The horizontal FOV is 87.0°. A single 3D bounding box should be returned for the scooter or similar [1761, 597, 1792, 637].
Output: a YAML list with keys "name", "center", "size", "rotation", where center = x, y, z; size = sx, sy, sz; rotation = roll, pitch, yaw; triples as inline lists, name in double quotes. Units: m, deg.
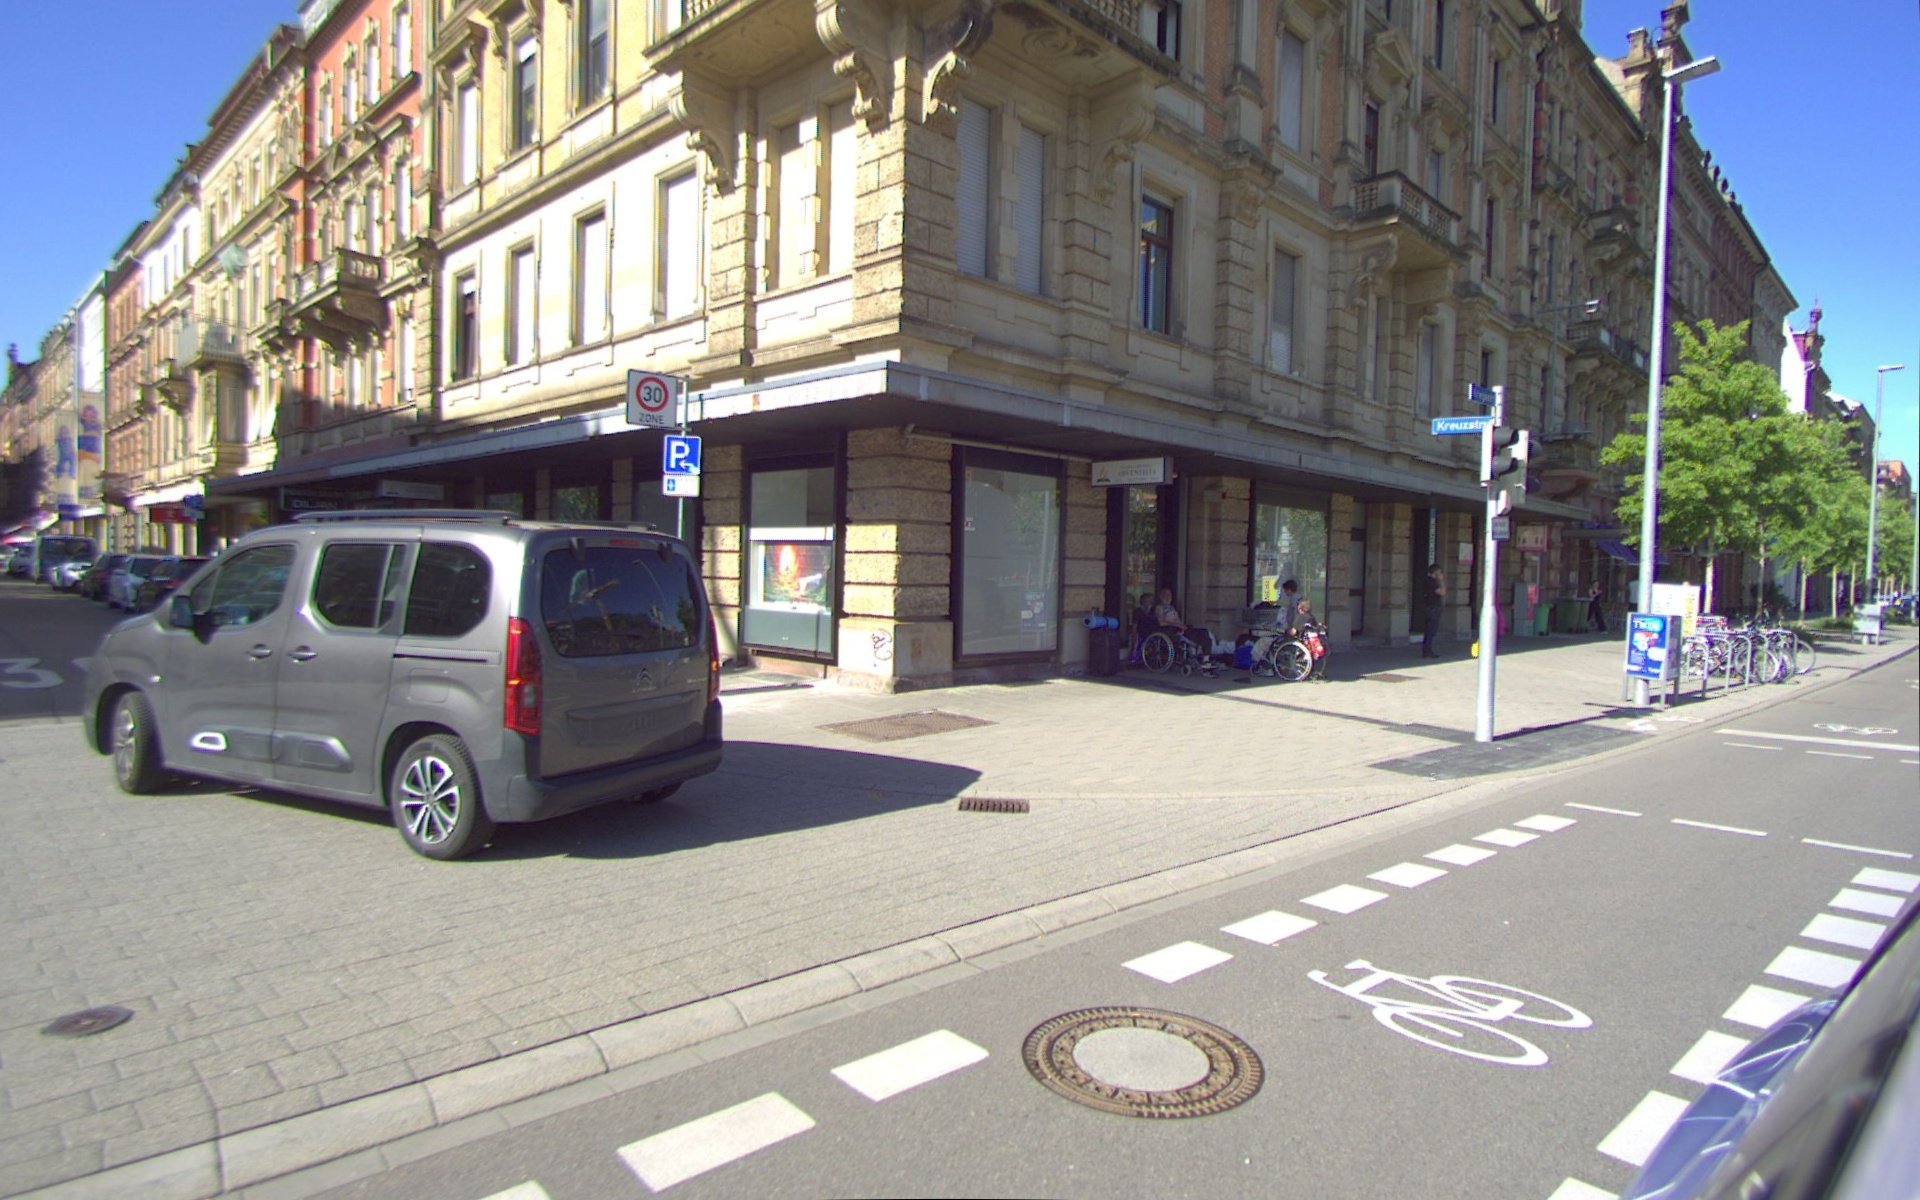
- name: "scooter or similar"
  center: [24.489, 0.502, 30.370]
  size: [0.283, 1.187, 0.639]
  rotation: [1, 1, -20]

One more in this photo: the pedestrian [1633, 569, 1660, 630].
- name: "pedestrian"
  center: [21.334, -0.020, 31.451]
  size: [0.491, 1.873, 0.512]
  rotation: [1, 1, -35]

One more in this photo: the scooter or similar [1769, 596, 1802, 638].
- name: "scooter or similar"
  center: [24.876, 0.519, 30.518]
  size: [0.320, 1.235, 0.676]
  rotation: [1, 1, -20]

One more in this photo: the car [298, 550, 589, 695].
- name: "car"
  center: [-6.776, 0.159, 13.072]
  size: [4.389, 1.563, 1.827]
  rotation: [2, 2, 40]

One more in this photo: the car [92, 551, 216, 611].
- name: "car"
  center: [-20.350, -0.518, 25.488]
  size: [4.420, 1.371, 1.627]
  rotation: [2, 2, 40]

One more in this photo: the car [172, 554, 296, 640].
- name: "car"
  center: [-13.969, -0.102, 19.431]
  size: [2.778, 1.513, 1.286]
  rotation: [2, 2, 40]

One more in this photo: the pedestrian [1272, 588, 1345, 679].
- name: "pedestrian"
  center: [5.056, 0.470, 14.679]
  size: [0.635, 1.232, 0.719]
  rotation: [0, 4, -37]

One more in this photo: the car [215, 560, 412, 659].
- name: "car"
  center: [-10.720, 0.090, 16.672]
  size: [4.173, 1.412, 1.535]
  rotation: [2, 1, 40]

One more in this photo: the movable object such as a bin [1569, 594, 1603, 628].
- name: "movable object such as a bin"
  center: [18.484, 0.316, 29.875]
  size: [0.576, 0.986, 0.692]
  rotation: [-1, 1, -38]

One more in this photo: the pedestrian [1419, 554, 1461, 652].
- name: "pedestrian"
  center: [9.148, 0.051, 19.292]
  size: [0.491, 1.824, 0.512]
  rotation: [1, 1, -35]

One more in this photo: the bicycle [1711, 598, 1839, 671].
- name: "bicycle"
  center: [16.376, 0.661, 20.369]
  size: [0.680, 1.266, 1.867]
  rotation: [-1, 5, -43]

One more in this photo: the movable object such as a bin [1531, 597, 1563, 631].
- name: "movable object such as a bin"
  center: [16.198, 0.388, 27.939]
  size: [0.467, 0.876, 0.606]
  rotation: [-1, 4, -38]

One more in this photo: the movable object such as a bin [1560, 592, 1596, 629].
- name: "movable object such as a bin"
  center: [18.010, 0.301, 29.500]
  size: [0.576, 1.025, 0.693]
  rotation: [-1, 4, -38]

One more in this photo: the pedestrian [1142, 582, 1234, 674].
- name: "pedestrian"
  center: [3.329, 0.389, 14.822]
  size: [0.691, 1.232, 1.074]
  rotation: [-1, 4, -42]

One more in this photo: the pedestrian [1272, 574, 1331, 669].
- name: "pedestrian"
  center: [5.285, 0.315, 15.660]
  size: [0.637, 1.411, 0.573]
  rotation: [-1, 4, -44]

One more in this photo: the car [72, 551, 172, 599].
- name: "car"
  center: [-25.375, -0.774, 30.617]
  size: [3.806, 1.371, 1.688]
  rotation: [2, 2, 40]

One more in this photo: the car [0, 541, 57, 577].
- name: "car"
  center: [-42.963, -1.878, 46.626]
  size: [3.806, 1.574, 1.514]
  rotation: [2, 2, 40]

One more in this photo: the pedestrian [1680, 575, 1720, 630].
- name: "pedestrian"
  center: [22.671, 0.067, 31.015]
  size: [0.795, 1.603, 0.752]
  rotation: [0, 3, -42]

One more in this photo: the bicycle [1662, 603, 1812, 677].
- name: "bicycle"
  center: [14.119, 0.697, 18.450]
  size: [0.593, 1.133, 2.053]
  rotation: [-1, 4, -42]

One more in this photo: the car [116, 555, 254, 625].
- name: "car"
  center: [-16.949, -0.260, 22.080]
  size: [3.806, 1.371, 1.627]
  rotation: [2, 2, 40]

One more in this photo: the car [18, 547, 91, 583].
- name: "car"
  center: [-36.528, -1.428, 40.789]
  size: [3.806, 1.371, 1.688]
  rotation: [2, 2, 40]

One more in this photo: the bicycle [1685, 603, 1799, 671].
- name: "bicycle"
  center: [15.088, 0.693, 19.555]
  size: [1.661, 1.123, 0.594]
  rotation: [5, 5, 40]

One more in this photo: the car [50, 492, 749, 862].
- name: "car"
  center: [-3.599, 0.295, 6.504]
  size: [4.120, 1.774, 1.804]
  rotation: [2, 2, 23]

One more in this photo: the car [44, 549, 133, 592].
- name: "car"
  center: [-29.323, -0.997, 34.037]
  size: [3.806, 1.371, 1.688]
  rotation: [2, 2, 40]
